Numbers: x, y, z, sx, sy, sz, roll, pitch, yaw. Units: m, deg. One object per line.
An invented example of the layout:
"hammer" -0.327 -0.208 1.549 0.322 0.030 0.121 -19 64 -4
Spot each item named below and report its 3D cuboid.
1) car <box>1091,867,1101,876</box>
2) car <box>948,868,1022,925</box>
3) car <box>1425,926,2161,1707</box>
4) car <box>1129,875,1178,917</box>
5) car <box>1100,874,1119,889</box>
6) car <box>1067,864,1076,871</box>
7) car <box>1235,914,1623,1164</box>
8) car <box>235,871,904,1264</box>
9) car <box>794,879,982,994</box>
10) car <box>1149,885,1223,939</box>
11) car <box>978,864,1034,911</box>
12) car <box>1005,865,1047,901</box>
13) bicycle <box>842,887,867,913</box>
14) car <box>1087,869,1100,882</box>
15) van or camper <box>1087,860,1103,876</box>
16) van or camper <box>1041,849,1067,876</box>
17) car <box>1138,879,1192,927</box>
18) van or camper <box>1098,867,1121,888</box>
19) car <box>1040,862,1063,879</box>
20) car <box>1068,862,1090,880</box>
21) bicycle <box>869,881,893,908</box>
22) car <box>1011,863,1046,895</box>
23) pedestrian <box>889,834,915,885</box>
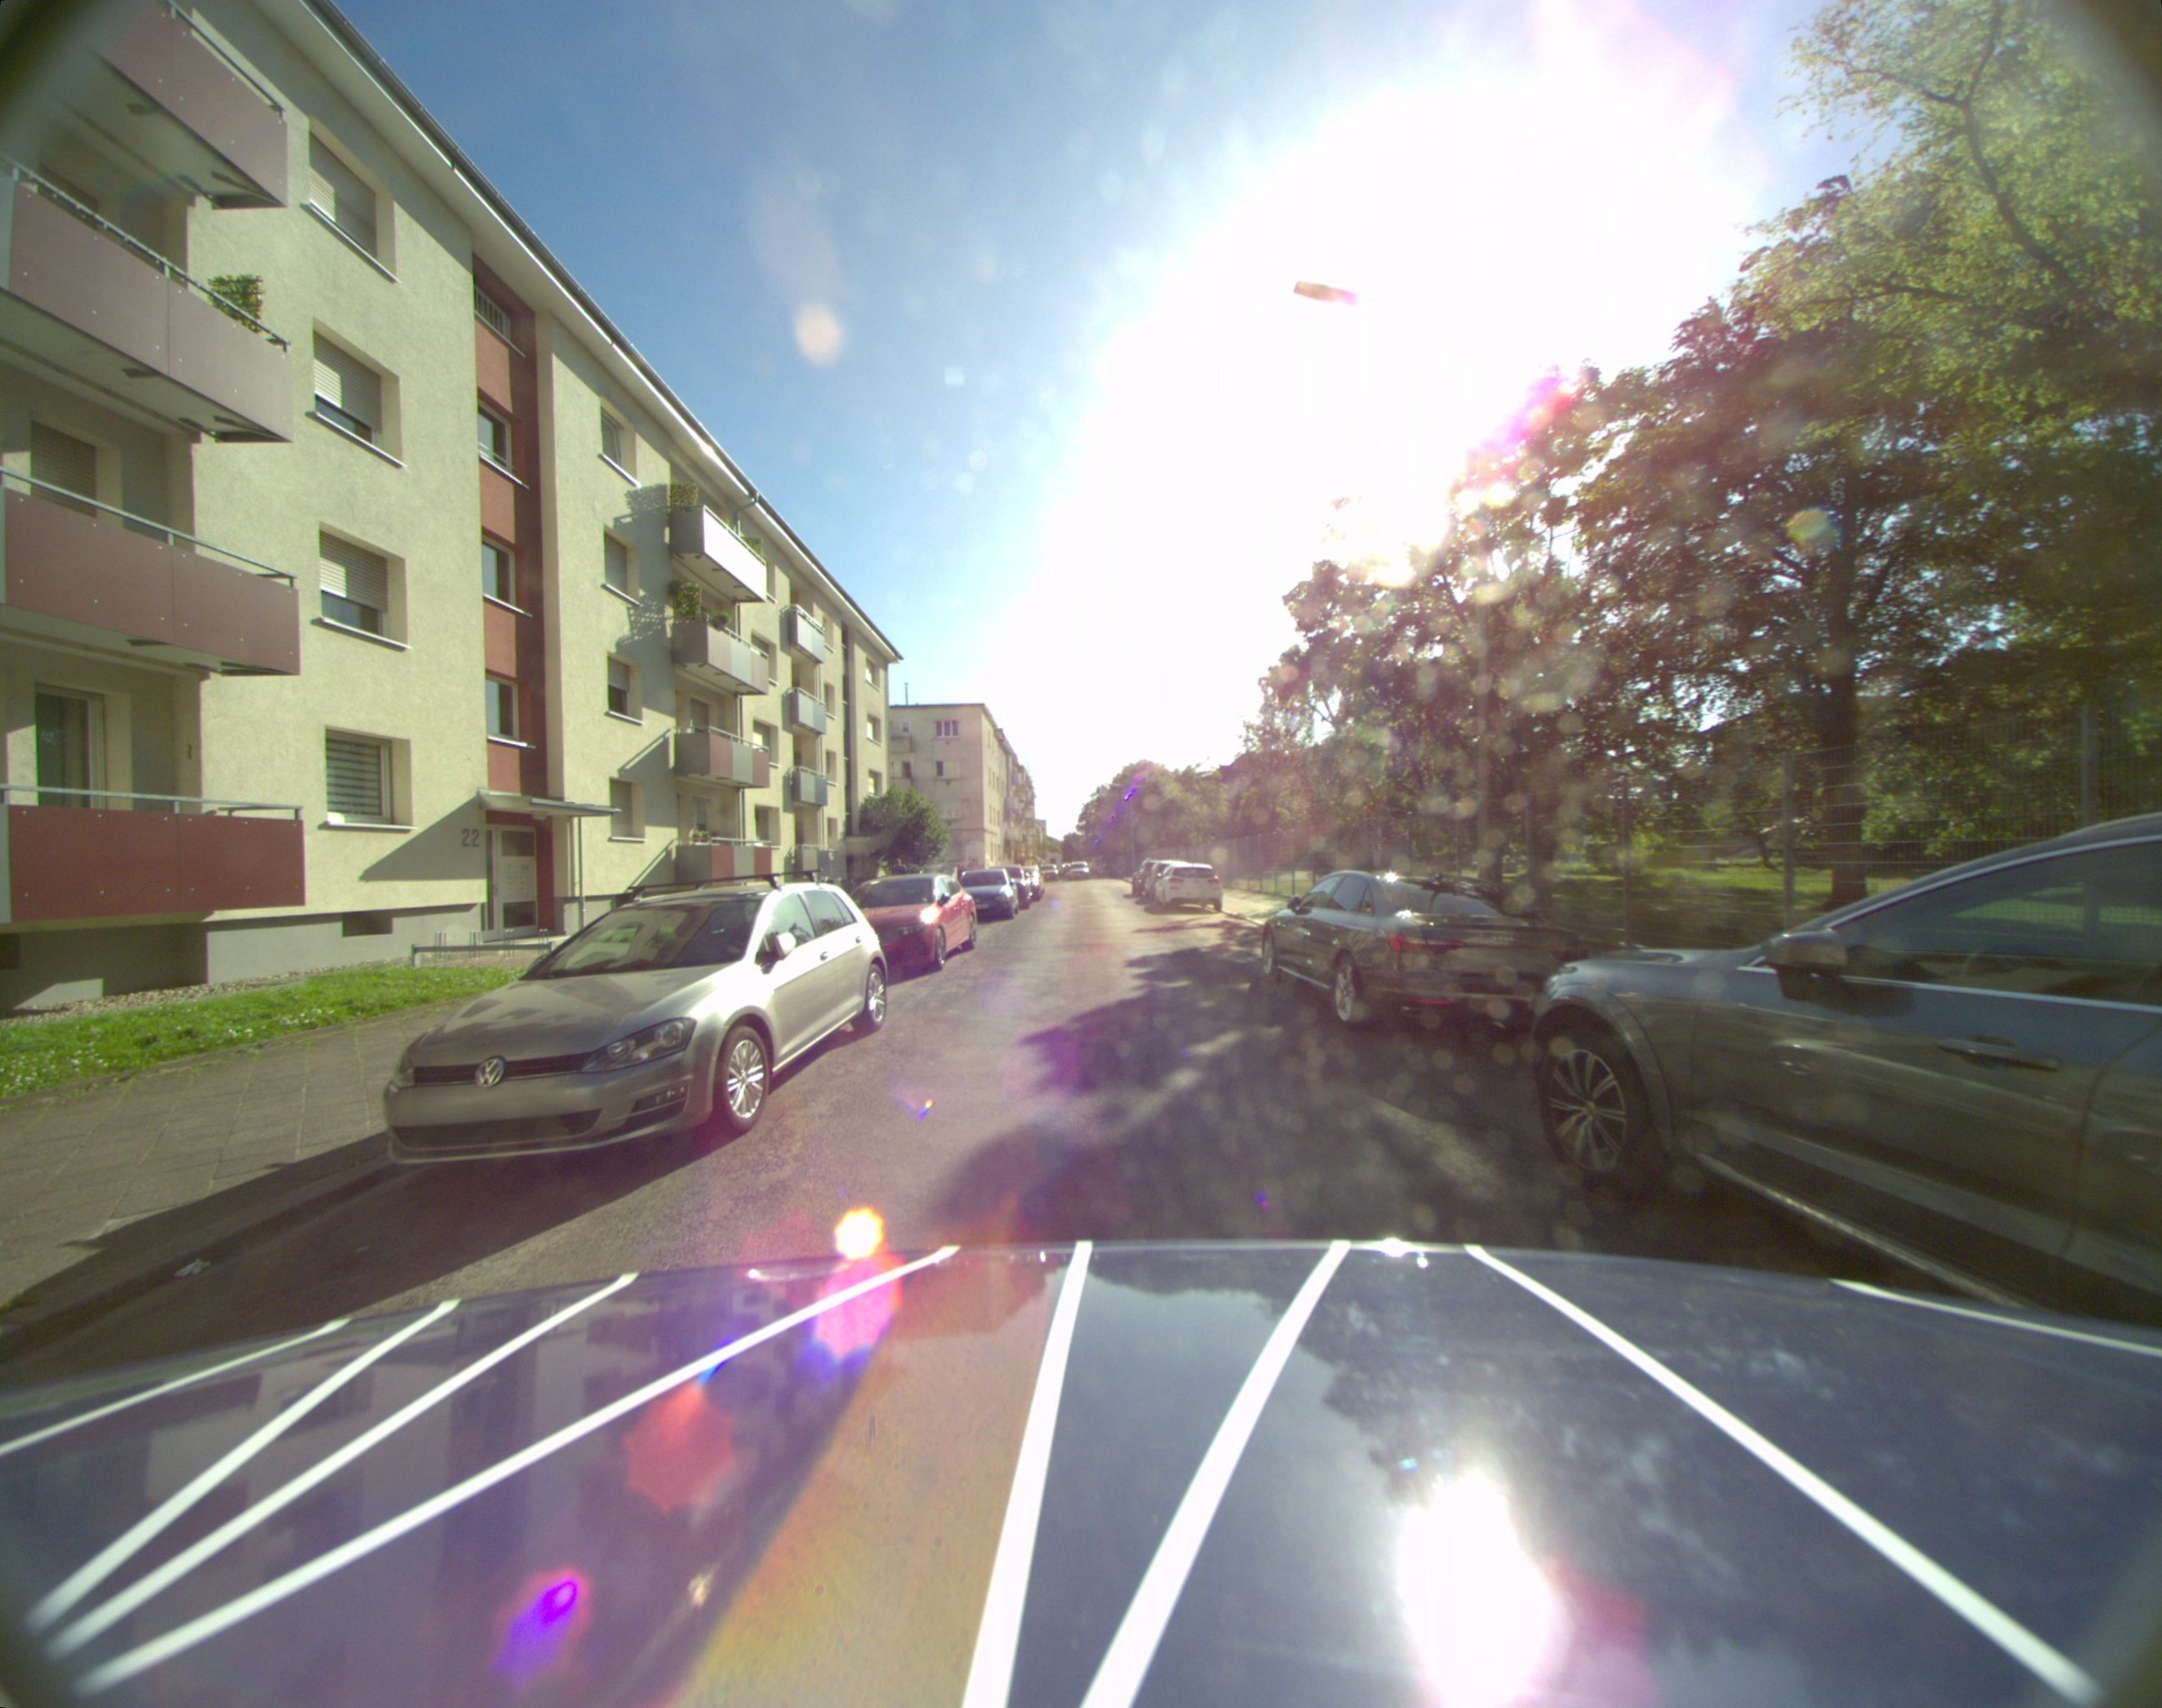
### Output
"car" 3.091 3.578 156.567 1.999 1.738 4.000 0 -1 -1
"car" -2.694 1.158 22.162 1.757 1.472 4.079 -1 -1 -2
"car" 2.939 1.257 1.870 1.883 1.654 4.932 3 -1 0
"car" 3.278 1.888 35.241 1.717 1.654 4.165 3 -1 -1
"car" 2.939 2.864 79.485 1.652 1.408 4.000 -1 -1 -2
"car" -1.923 2.731 152.958 1.652 1.450 4.000 0 -1 -2
"car" 2.991 1.523 7.772 1.799 1.462 4.502 2 -1 -1
"car" -2.815 1.003 5.698 1.903 1.612 4.602 -2 -1 -1
"car" -2.861 1.167 12.344 1.756 1.435 4.524 0 -1 2
"car" 3.328 1.819 24.773 1.798 1.436 4.120 2 -1 0
"car" -2.683 1.177 27.958 1.757 1.549 4.254 -1 -1 -2
"car" -2.358 1.220 33.166 1.609 1.475 3.797 0 -1 -1
"bicycle" -9.385 1.878 31.533 0.486 0.955 2.283 1 -1 -3
"car" 1.687 2.968 104.408 1.652 1.674 4.000 0 -1 -2
"van or camper" 2.116 2.140 116.188 2.126 2.484 4.000 0 0 -2
"van or camper" -3.324 1.034 93.600 2.958 3.160 6.174 1 -1 -1
"car" 3.266 1.882 30.192 1.568 1.633 3.615 4 -1 -1
"van or camper" 3.183 2.590 85.395 2.212 2.267 5.310 -1 -1 -2
"car" -2.725 1.527 71.011 2.070 1.543 4.000 -1 -1 -2
"car" -0.194 1.535 69.723 1.862 1.543 3.999 -2 0 -2
"bicycle" -8.254 1.659 31.455 0.486 1.006 2.283 1 -1 -3
"car" -2.702 1.255 39.745 1.622 1.539 4.085 0 0 -1
"pedestrian" -6.289 0.207 26.682 0.646 1.761 0.841 0 0 6
